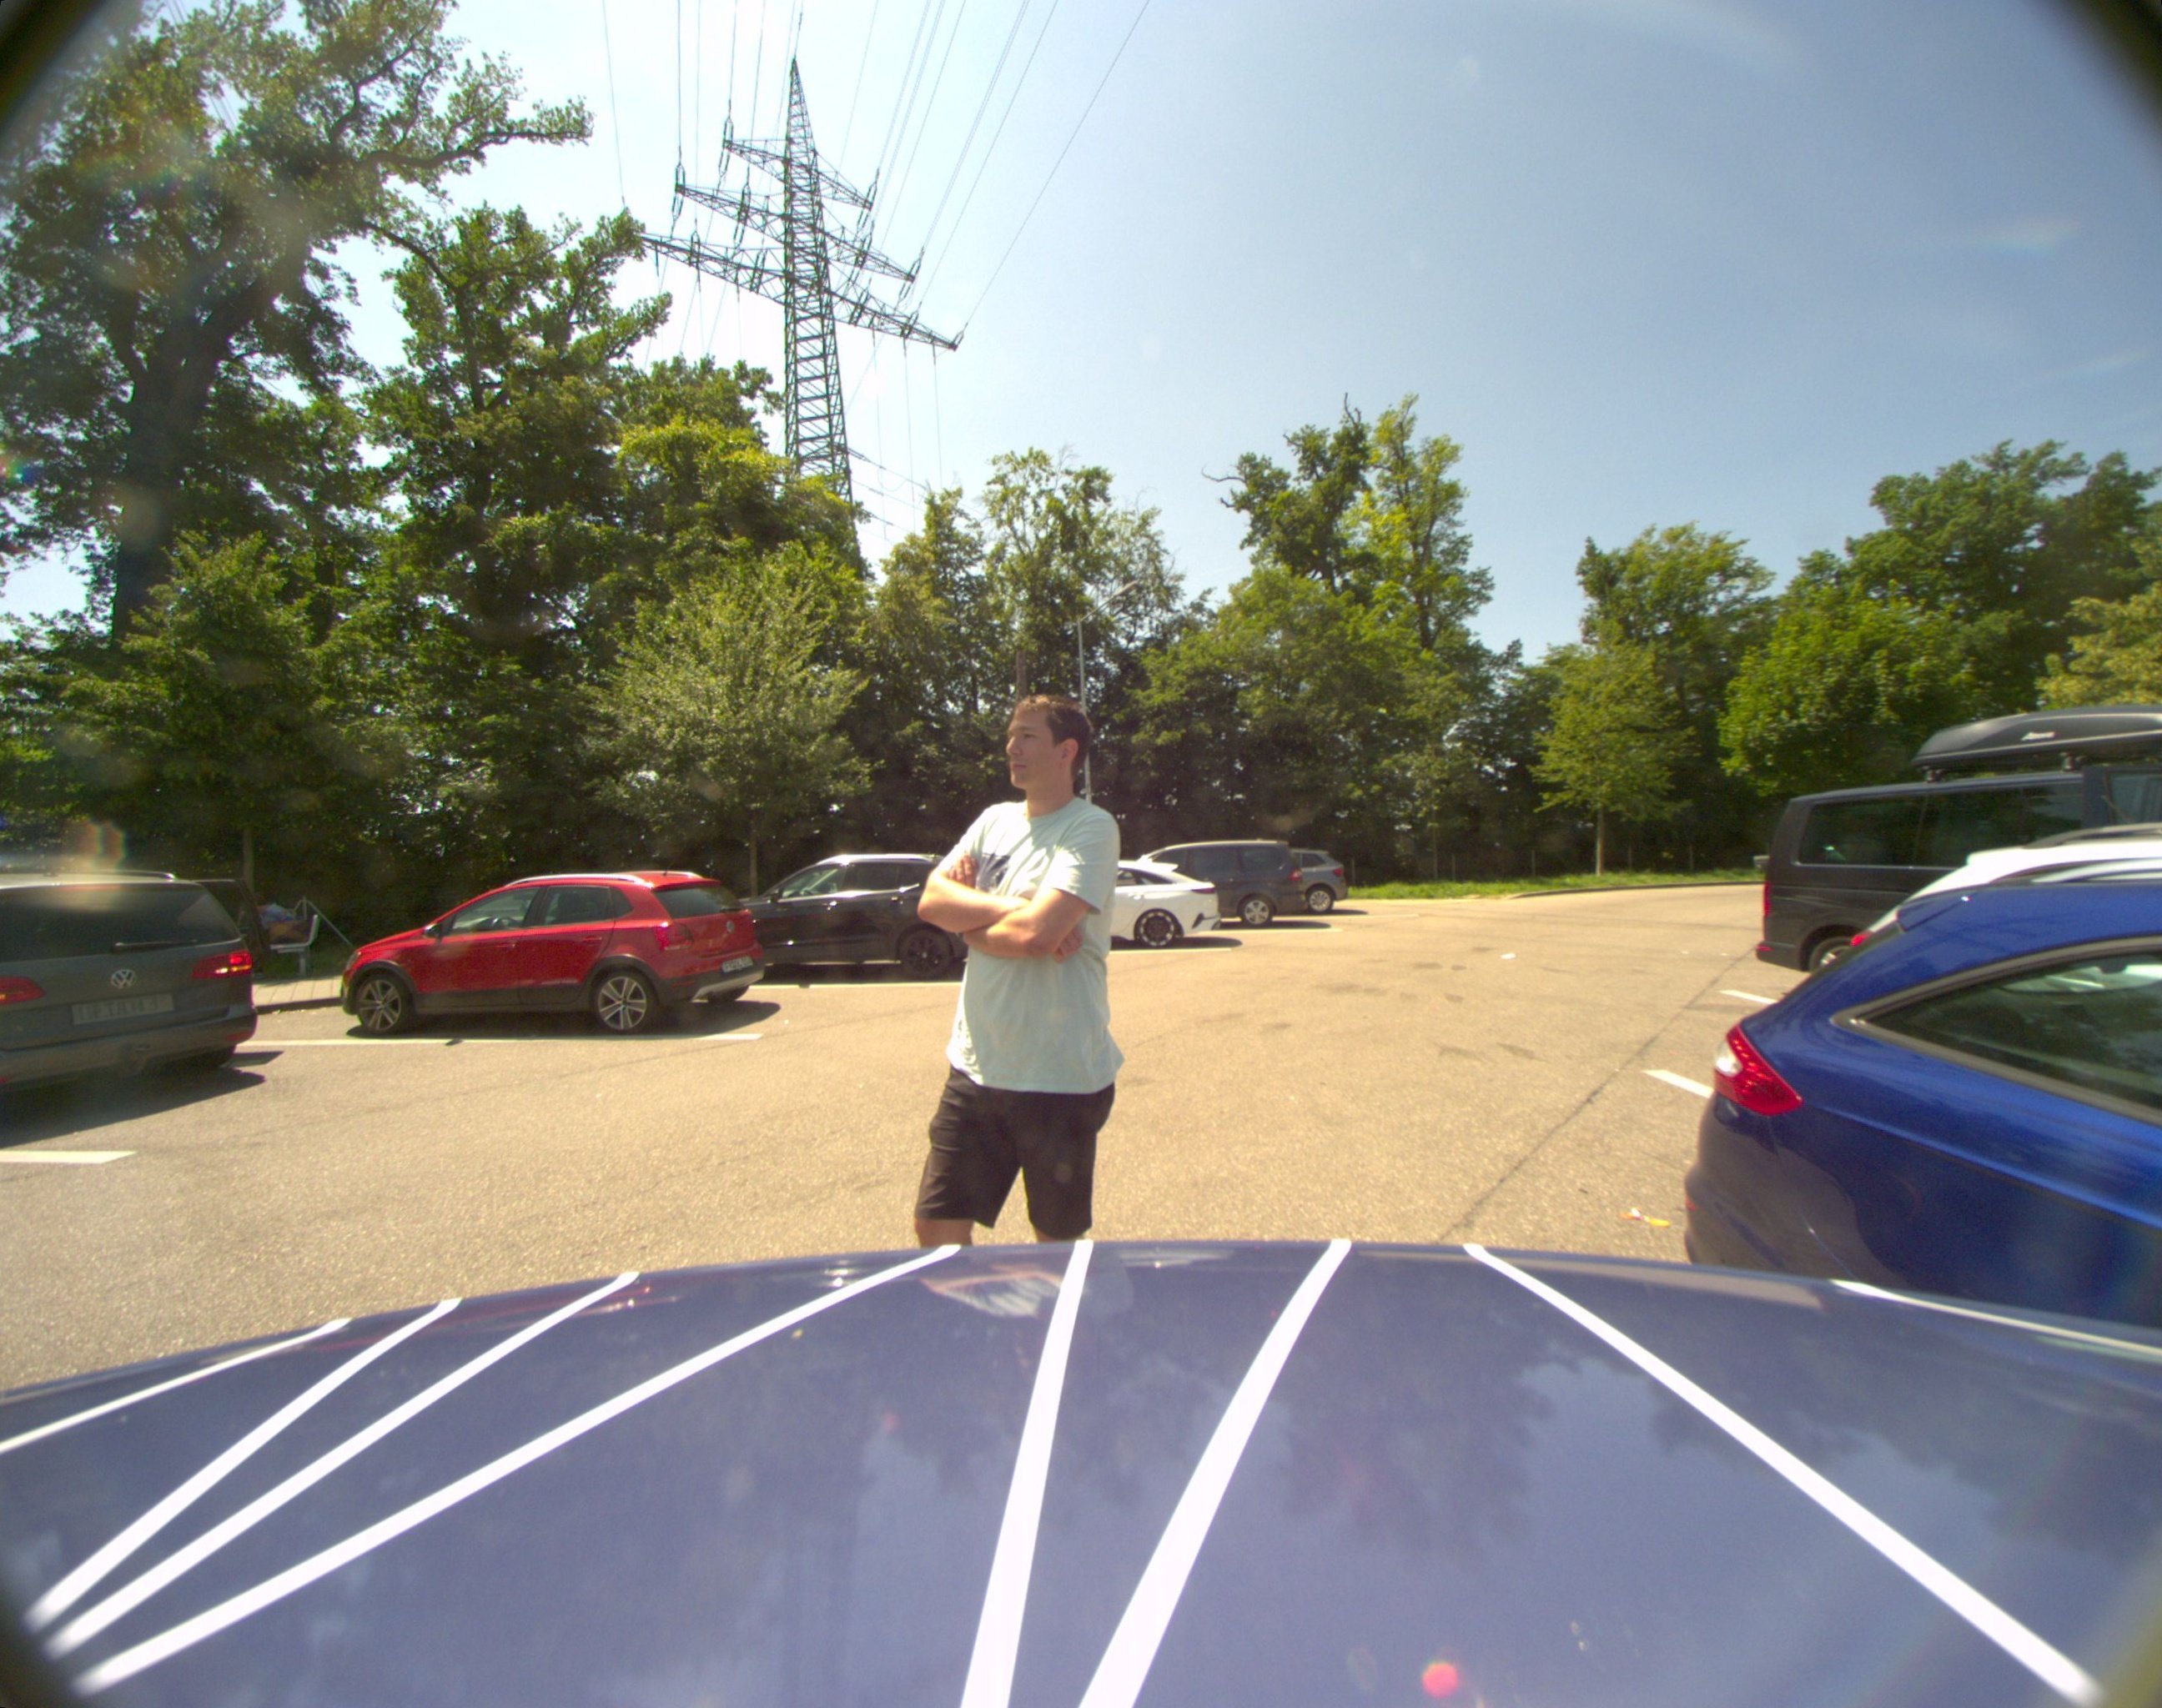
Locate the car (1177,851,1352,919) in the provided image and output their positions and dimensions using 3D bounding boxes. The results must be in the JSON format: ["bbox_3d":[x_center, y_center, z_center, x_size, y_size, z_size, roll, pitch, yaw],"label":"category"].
[{"bbox_3d":[4.257,0.709,18.117,3.805,1.468,1.743,-1,1,5],"label":"car"}]

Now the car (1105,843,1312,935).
[{"bbox_3d":[2.509,0.682,15.473,3.882,1.680,1.882,-1,0,5],"label":"car"}]

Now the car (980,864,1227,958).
[{"bbox_3d":[0.407,0.908,12.723,3.805,1.359,1.803,-1,1,5],"label":"car"}]

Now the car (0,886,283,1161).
[{"bbox_3d":[-8.343,1.093,5.430,3.950,1.581,1.753,-1,1,11],"label":"car"}]

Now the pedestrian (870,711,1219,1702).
[{"bbox_3d":[-0.152,0.657,1.873,0.634,1.857,0.747,-2,0,-17],"label":"pedestrian"}]

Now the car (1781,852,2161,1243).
[{"bbox_3d":[4.778,0.703,2.409,1.607,1.405,3.743,-2,-1,-1],"label":"car"}]

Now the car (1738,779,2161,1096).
[{"bbox_3d":[7.306,0.458,5.006,2.048,1.850,4.430,-2,-1,-1],"label":"car"}]

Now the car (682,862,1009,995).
[{"bbox_3d":[-3.008,0.938,10.273,3.806,1.538,1.759,-1,1,2],"label":"car"}]

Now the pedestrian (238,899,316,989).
[{"bbox_3d":[-11.730,1.295,11.088,0.680,1.211,0.675,-4,-2,36],"label":"pedestrian"}]

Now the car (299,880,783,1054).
[{"bbox_3d":[-5.242,1.063,7.646,3.804,1.449,1.637,-1,1,7],"label":"car"}]

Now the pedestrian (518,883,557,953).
[{"bbox_3d":[-10.955,1.279,15.322,0.490,1.367,0.506,-2,0,41],"label":"pedestrian"}]

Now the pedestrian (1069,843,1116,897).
[{"bbox_3d":[0.303,0.401,19.177,0.890,1.292,0.865,-2,0,21],"label":"pedestrian"}]

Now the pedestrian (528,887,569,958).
[{"bbox_3d":[-10.169,1.296,14.516,0.490,1.291,0.506,-2,0,41],"label":"pedestrian"}]
